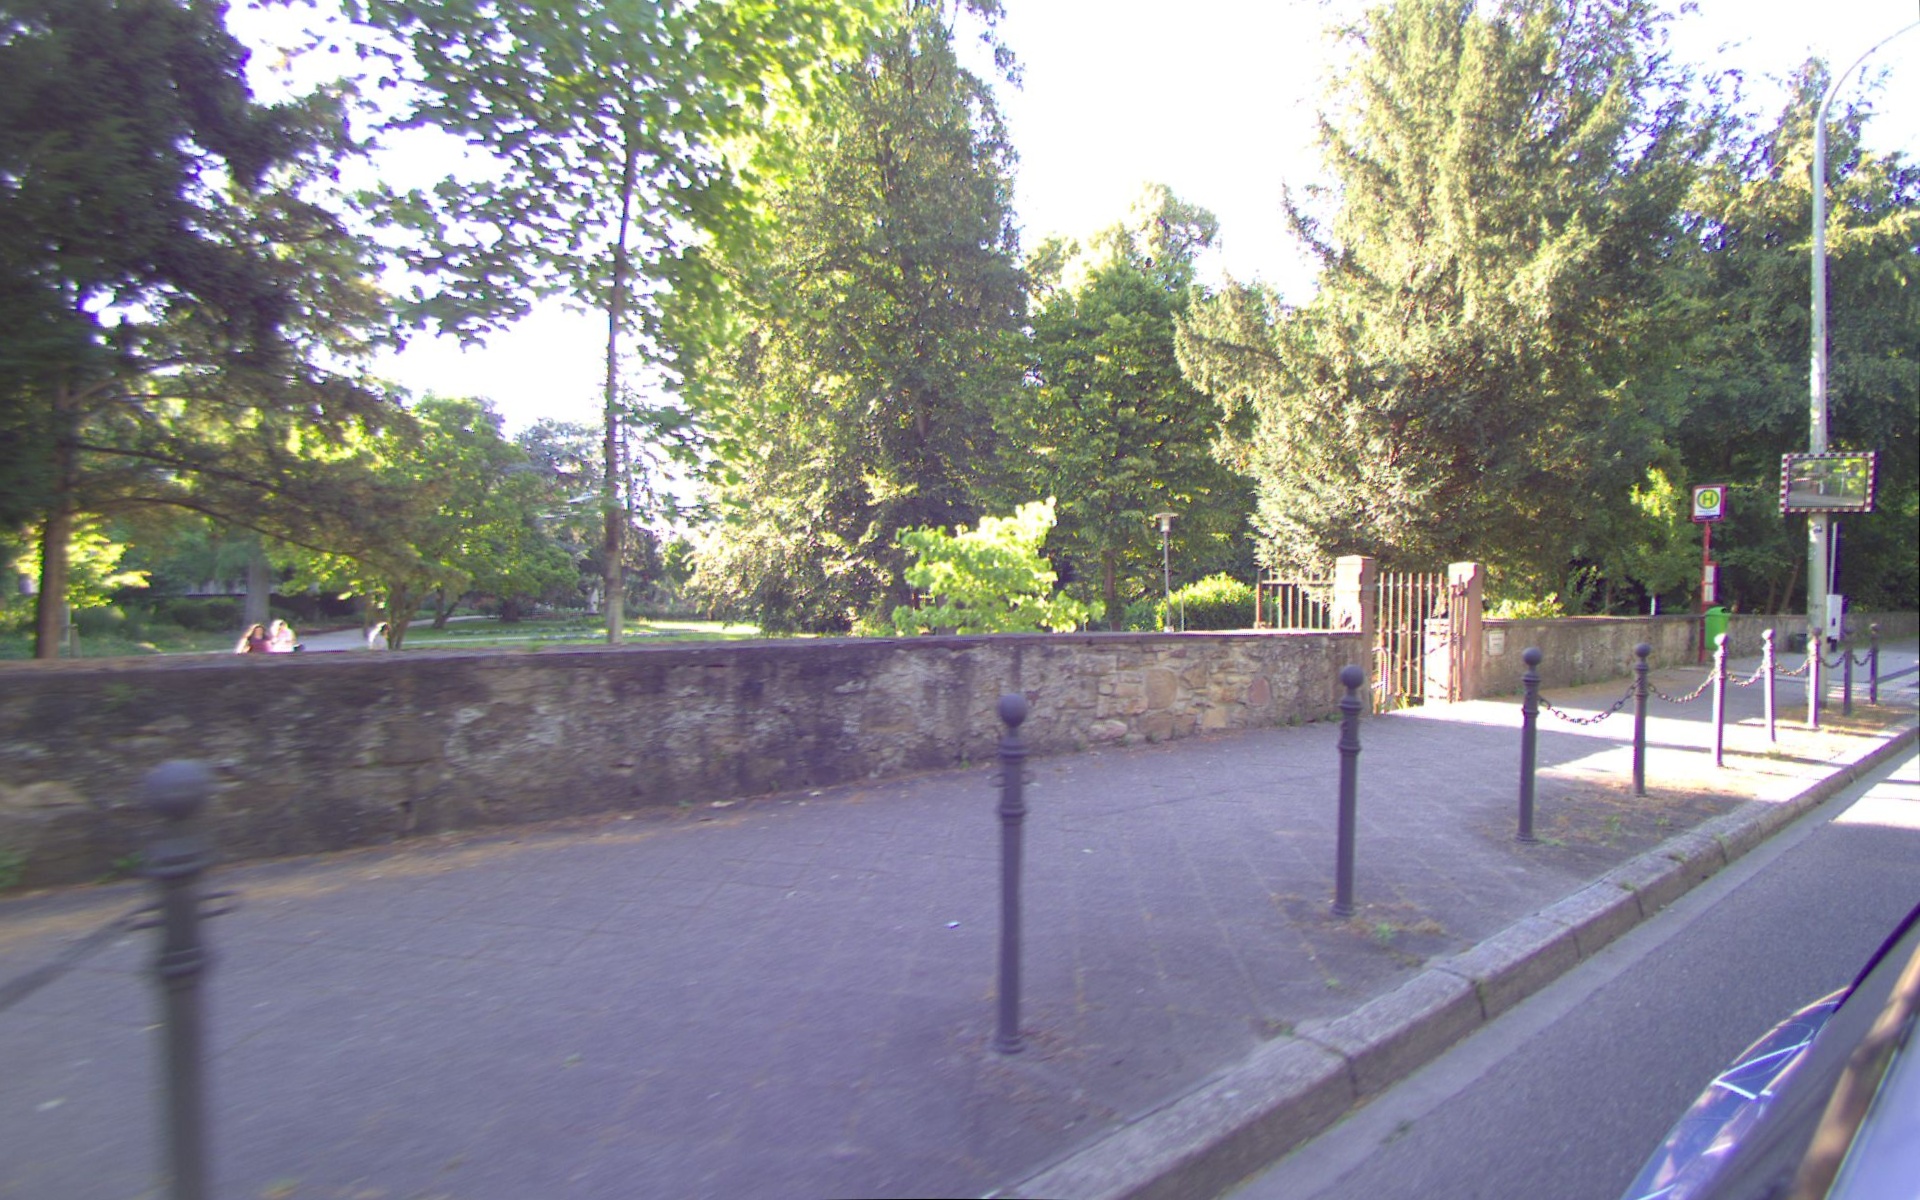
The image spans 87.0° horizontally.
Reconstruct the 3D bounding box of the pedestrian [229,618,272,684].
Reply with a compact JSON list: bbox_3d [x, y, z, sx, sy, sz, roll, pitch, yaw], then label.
[{"bbox_3d":[-18.159,1.297,25.898,0.562,1.639,0.751,-2,-1,35],"label":"pedestrian"}]

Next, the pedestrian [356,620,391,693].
[{"bbox_3d":[-13.778,1.311,23.780,0.625,1.661,0.616,0,-1,-39],"label":"pedestrian"}]

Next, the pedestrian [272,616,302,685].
[{"bbox_3d":[-17.585,1.314,26.453,0.587,1.752,0.590,0,-1,-40],"label":"pedestrian"}]
